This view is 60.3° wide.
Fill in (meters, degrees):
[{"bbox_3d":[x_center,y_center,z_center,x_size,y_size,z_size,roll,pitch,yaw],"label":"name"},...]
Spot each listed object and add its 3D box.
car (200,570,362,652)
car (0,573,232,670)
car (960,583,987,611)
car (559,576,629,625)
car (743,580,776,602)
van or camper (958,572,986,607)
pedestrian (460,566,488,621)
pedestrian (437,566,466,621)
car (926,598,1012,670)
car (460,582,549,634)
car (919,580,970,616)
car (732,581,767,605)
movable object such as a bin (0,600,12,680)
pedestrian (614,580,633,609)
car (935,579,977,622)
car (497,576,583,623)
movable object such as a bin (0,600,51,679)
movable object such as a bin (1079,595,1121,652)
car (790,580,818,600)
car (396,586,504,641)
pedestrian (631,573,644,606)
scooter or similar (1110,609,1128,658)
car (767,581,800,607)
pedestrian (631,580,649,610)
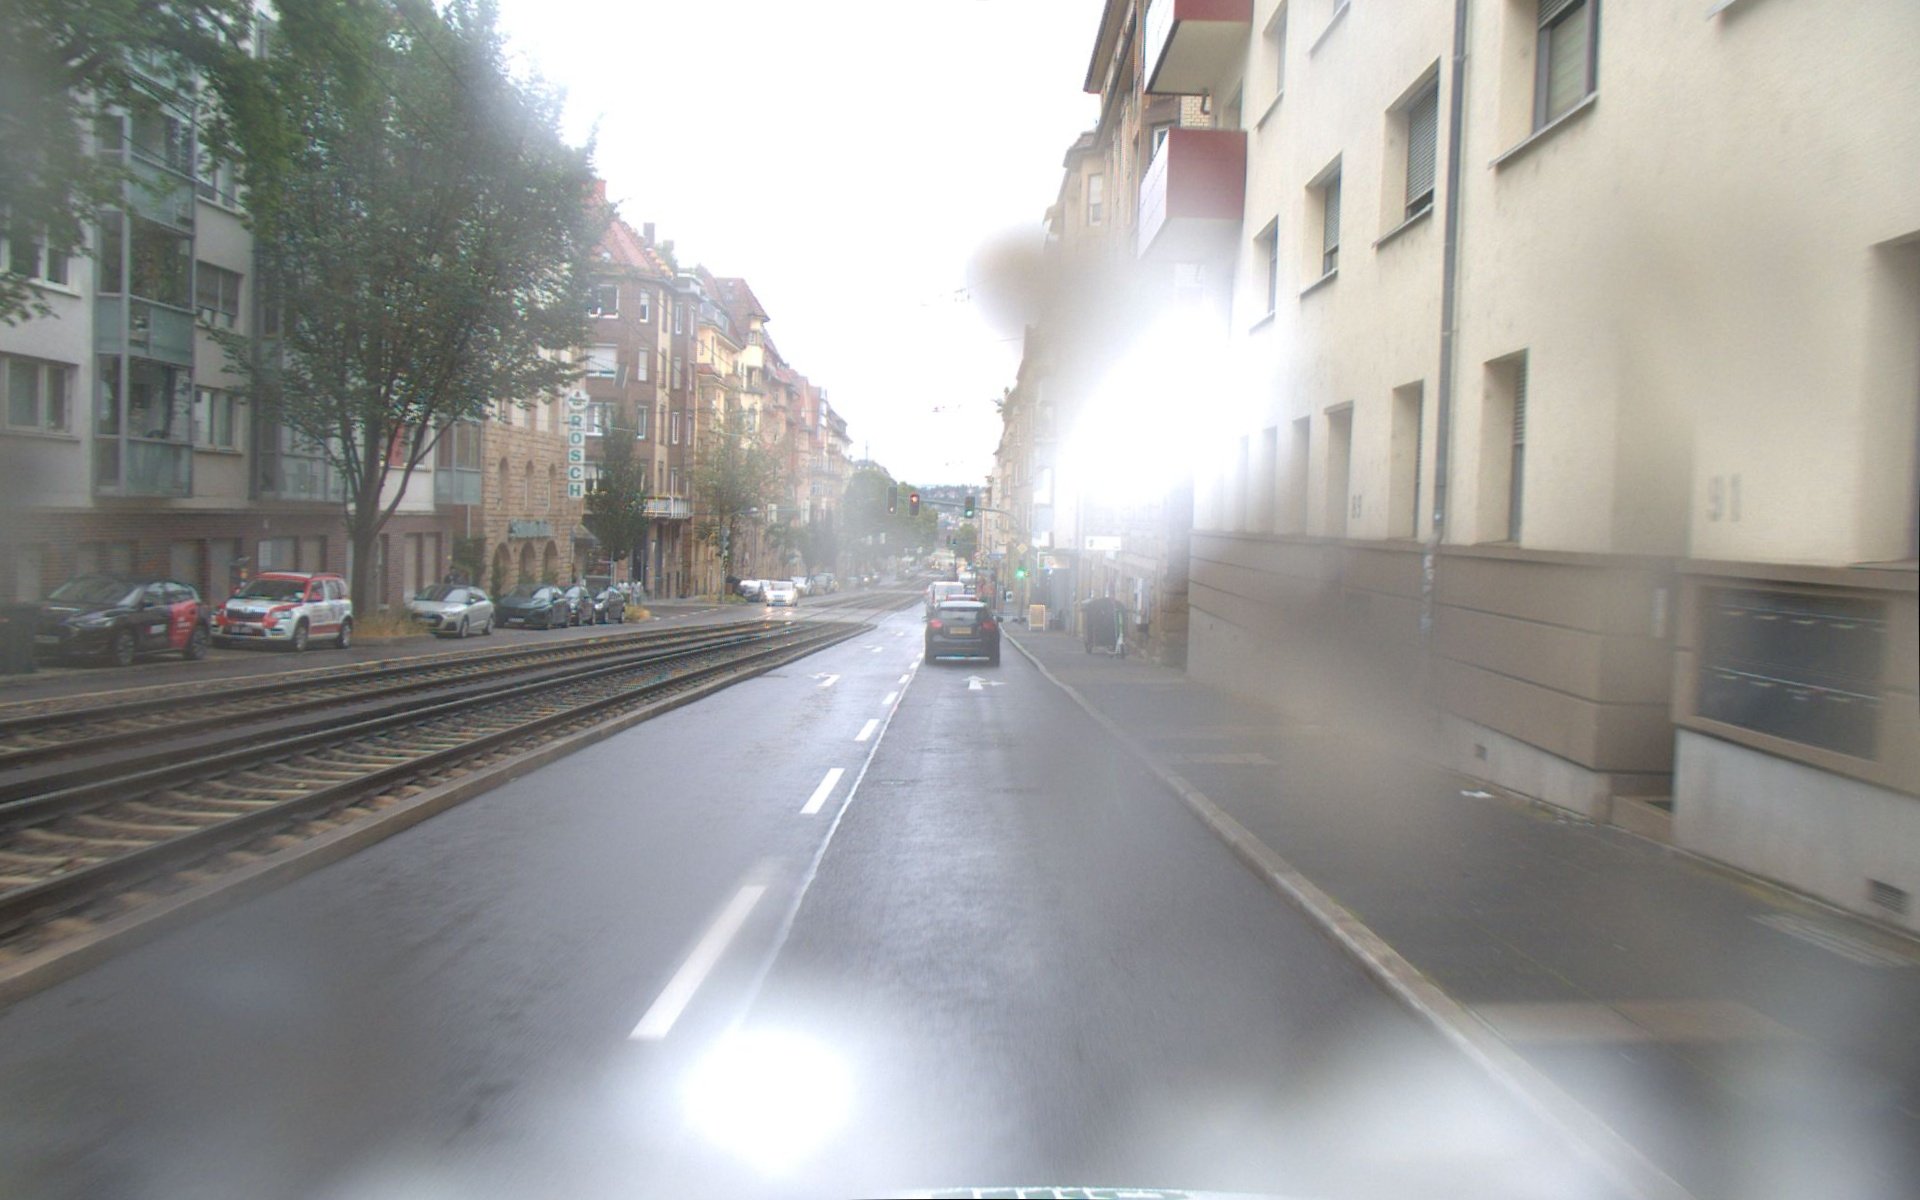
[{"bbox_3d":[-14.328,0.203,35.168,1.740,1.596,4.158,1,0,-1],"label":"car"},{"bbox_3d":[-14.313,0.327,28.165,1.867,1.465,4.468,1,0,-1],"label":"car"},{"bbox_3d":[0.920,-0.207,114.325,1.732,1.839,4.482,2,1,0],"label":"car"},{"bbox_3d":[-14.421,0.027,65.323,1.848,1.758,3.740,3,0,0],"label":"car"},{"bbox_3d":[-14.109,-0.634,116.524,1.632,1.450,4.263,2,1,2],"label":"car"},{"bbox_3d":[0.887,-0.776,122.711,2.022,2.512,6.119,1,0,0],"label":"van or camper"},{"bbox_3d":[-16.270,-0.214,55.360,0.659,1.803,0.782,2,0,0],"label":"pedestrian"},{"bbox_3d":[-17.023,-0.227,55.351,0.659,1.803,0.782,2,0,0],"label":"pedestrian"},{"bbox_3d":[0.181,0.769,39.179,1.906,1.592,3.642,1,0,-1],"label":"car"},{"bbox_3d":[-14.205,0.226,51.775,1.770,1.524,3.526,1,0,0],"label":"car"},{"bbox_3d":[-0.818,-0.101,84.336,1.887,1.684,3.990,3,0,-10],"label":"car"},{"bbox_3d":[-14.148,-0.454,111.252,1.728,1.512,4.000,1,0,1],"label":"car"},{"bbox_3d":[-14.200,0.576,23.834,0.710,1.141,0.670,1,0,-6],"label":"movable object such as a bin"},{"bbox_3d":[-16.620,-0.272,81.668,0.738,1.446,0.645,1,0,1],"label":"pedestrian"},{"bbox_3d":[-0.130,-0.010,64.568,1.504,1.536,4.001,2,1,0],"label":"car"},{"bbox_3d":[-14.047,-0.015,55.553,1.764,1.480,4.430,1,0,-1],"label":"car"},{"bbox_3d":[-14.000,0.582,24.513,0.710,1.141,0.670,1,0,-6],"label":"movable object such as a bin"},{"bbox_3d":[3.710,0.602,43.807,0.988,1.476,1.393,-1,0,0],"label":"movable object such as a bin"},{"bbox_3d":[-13.329,-0.860,141.401,1.747,1.617,4.353,0,1,3],"label":"car"},{"bbox_3d":[-14.264,0.350,46.476,1.667,1.359,4.130,4,0,0],"label":"car"},{"bbox_3d":[-15.959,-0.521,81.883,0.506,1.598,0.643,1,0,1],"label":"pedestrian"},{"bbox_3d":[3.769,0.793,39.213,0.205,1.131,0.889,0,-1,-9],"label":"scooter or similar"},{"bbox_3d":[-11.009,-0.371,103.504,1.593,1.508,3.581,1,0,1],"label":"car"},{"bbox_3d":[-15.836,-0.256,81.801,0.738,1.446,0.645,1,0,1],"label":"pedestrian"}]
